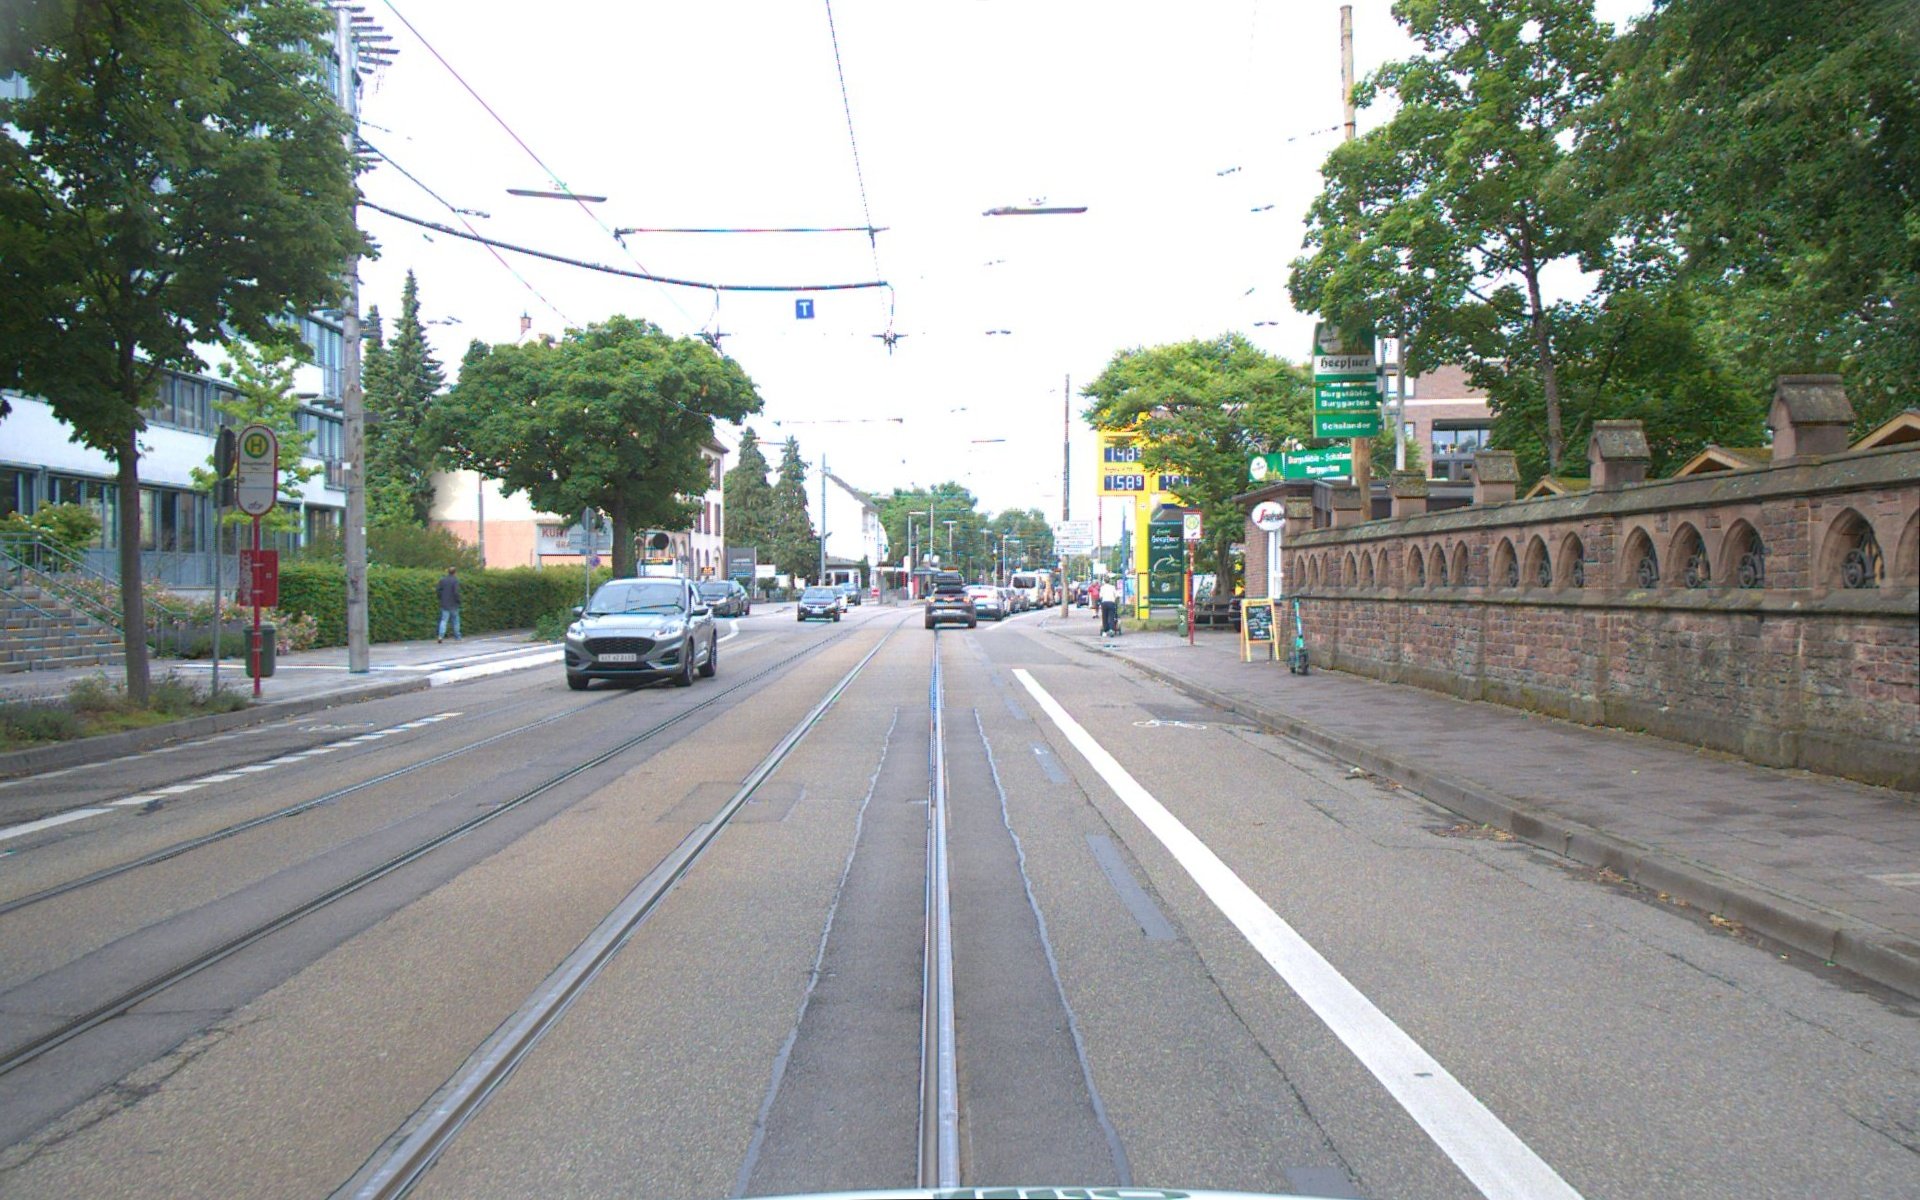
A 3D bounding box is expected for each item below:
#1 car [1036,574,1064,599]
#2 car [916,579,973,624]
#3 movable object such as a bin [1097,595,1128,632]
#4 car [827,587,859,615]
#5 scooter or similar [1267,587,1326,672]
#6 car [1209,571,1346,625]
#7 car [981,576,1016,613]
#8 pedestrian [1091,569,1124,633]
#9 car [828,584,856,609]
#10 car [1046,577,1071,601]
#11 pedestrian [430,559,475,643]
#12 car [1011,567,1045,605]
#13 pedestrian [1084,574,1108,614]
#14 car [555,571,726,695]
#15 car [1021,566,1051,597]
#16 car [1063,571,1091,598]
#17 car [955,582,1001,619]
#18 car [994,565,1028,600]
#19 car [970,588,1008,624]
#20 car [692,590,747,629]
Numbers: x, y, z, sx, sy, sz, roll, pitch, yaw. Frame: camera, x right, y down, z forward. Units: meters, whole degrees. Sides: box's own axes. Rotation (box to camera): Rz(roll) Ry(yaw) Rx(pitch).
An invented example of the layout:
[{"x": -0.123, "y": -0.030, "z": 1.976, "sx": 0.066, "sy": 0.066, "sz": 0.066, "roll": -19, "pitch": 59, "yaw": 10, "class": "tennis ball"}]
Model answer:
[{"x": 7.387, "y": -1.109, "z": 136.096, "sx": 1.953, "sy": 2.049, "sz": 3.999, "roll": 1, "pitch": 0, "yaw": -1, "class": "car"}, {"x": -0.567, "y": 0.054, "z": 60.091, "sx": 1.949, "sy": 1.523, "sz": 4.325, "roll": 1, "pitch": 0, "yaw": -1, "class": "car"}, {"x": 4.583, "y": 0.406, "z": 49.736, "sx": 0.751, "sy": 1.057, "sz": 1.025, "roll": -2, "pitch": 0, "yaw": 13, "class": "movable object such as a bin"}, {"x": -6.771, "y": 0.062, "z": 95.878, "sx": 1.669, "sy": 1.556, "sz": 3.741, "roll": 0, "pitch": 0, "yaw": -2, "class": "car"}, {"x": 5.295, "y": 0.445, "z": 26.113, "sx": 0.565, "sy": 1.260, "sz": 1.410, "roll": -4, "pitch": 0, "yaw": 0, "class": "scooter or similar"}, {"x": 9.495, "y": -0.093, "z": 49.180, "sx": 1.901, "sy": 1.432, "sz": 4.556, "roll": 0, "pitch": 2, "yaw": 43, "class": "car"}, {"x": 2.269, "y": -0.335, "z": 96.126, "sx": 1.952, "sy": 2.049, "sz": 4.001, "roll": 1, "pitch": 0, "yaw": 1, "class": "car"}, {"x": 4.373, "y": 0.016, "z": 48.914, "sx": 0.751, "sy": 1.828, "sz": 1.163, "roll": -2, "pitch": 0, "yaw": 13, "class": "pedestrian"}, {"x": -8.802, "y": -0.280, "z": 123.529, "sx": 1.790, "sy": 1.768, "sz": 4.335, "roll": -1, "pitch": 0, "yaw": 0, "class": "car"}, {"x": 8.786, "y": -0.983, "z": 147.467, "sx": 1.953, "sy": 2.049, "sz": 3.999, "roll": 1, "pitch": 0, "yaw": -1, "class": "car"}, {"x": -12.580, "y": 0.021, "z": 41.033, "sx": 0.695, "sy": 2.049, "sz": 0.991, "roll": 1, "pitch": 0, "yaw": 6, "class": "pedestrian"}, {"x": 4.520, "y": -0.931, "z": 110.300, "sx": 2.170, "sy": 2.465, "sz": 4.952, "roll": 1, "pitch": 0, "yaw": 2, "class": "car"}, {"x": 6.150, "y": -0.259, "z": 74.833, "sx": 0.951, "sy": 1.769, "sz": 0.861, "roll": -2, "pitch": 0, "yaw": 2, "class": "pedestrian"}, {"x": -4.879, "y": 0.428, "z": 25.836, "sx": 1.804, "sy": 1.683, "sz": 4.389, "roll": -2, "pitch": 1, "yaw": -1, "class": "car"}, {"x": 5.504, "y": -1.324, "z": 119.420, "sx": 2.095, "sy": 2.183, "sz": 4.745, "roll": 1, "pitch": 0, "yaw": 2, "class": "car"}, {"x": 8.340, "y": -1.076, "z": 118.454, "sx": 1.835, "sy": 1.855, "sz": 4.097, "roll": 1, "pitch": 0, "yaw": 2, "class": "car"}, {"x": 0.792, "y": -0.020, "z": 74.501, "sx": 1.941, "sy": 1.577, "sz": 4.183, "roll": 1, "pitch": 1, "yaw": -1, "class": "car"}, {"x": 3.179, "y": -1.077, "z": 102.507, "sx": 1.952, "sy": 2.049, "sz": 4.001, "roll": 1, "pitch": 0, "yaw": 3, "class": "car"}, {"x": 1.537, "y": 0.294, "z": 87.145, "sx": 1.928, "sy": 1.787, "sz": 3.838, "roll": 1, "pitch": 0, "yaw": 1, "class": "car"}, {"x": -12.548, "y": 0.488, "z": 86.651, "sx": 1.950, "sy": 1.920, "sz": 4.999, "roll": 1, "pitch": 0, "yaw": 2, "class": "car"}]
